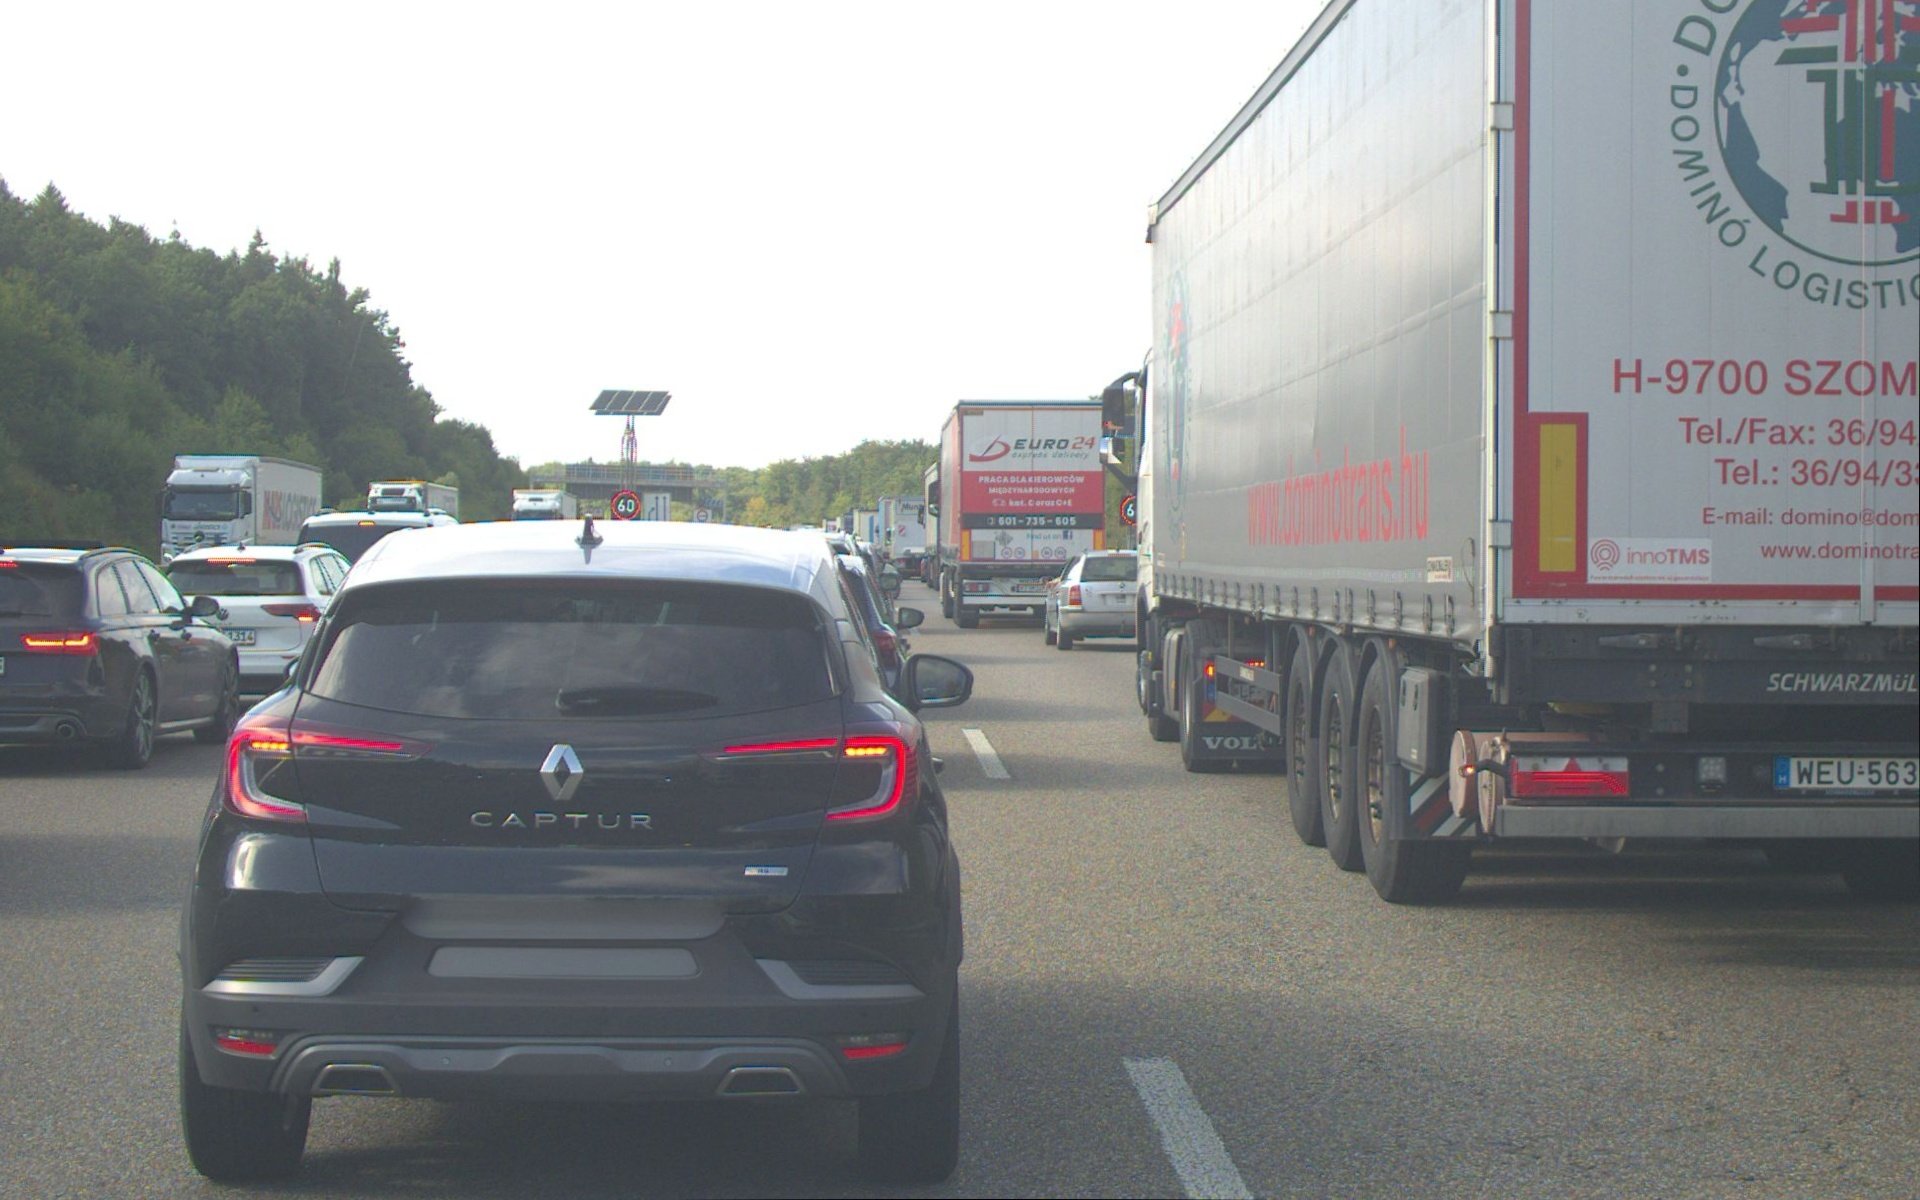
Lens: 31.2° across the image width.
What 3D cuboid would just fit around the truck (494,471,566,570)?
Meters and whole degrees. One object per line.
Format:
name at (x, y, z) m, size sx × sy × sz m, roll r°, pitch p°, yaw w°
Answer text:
truck at (-22.767, -4.176, 182.204) m, size 3.088 × 5.083 × 7.142 m, roll 1°, pitch 0°, yaw -2°

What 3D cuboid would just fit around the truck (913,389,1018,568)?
truck at (0.087, -3.828, 112.771) m, size 3.166 × 5.486 × 12.738 m, roll 1°, pitch 1°, yaw -1°

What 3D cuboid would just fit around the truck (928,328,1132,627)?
truck at (1.131, -2.141, 64.856) m, size 3.365 × 5.027 × 12.738 m, roll 1°, pitch 1°, yaw -1°

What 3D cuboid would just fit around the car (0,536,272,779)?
car at (-6.036, 0.305, 23.347) m, size 1.843 × 1.451 × 4.748 m, roll 1°, pitch 1°, yaw -1°

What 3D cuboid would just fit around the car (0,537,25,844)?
car at (-5.411, 0.469, 14.819) m, size 1.747 × 1.460 × 4.041 m, roll 0°, pitch 1°, yaw -1°

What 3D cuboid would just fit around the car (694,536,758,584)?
car at (-8.056, -1.405, 118.572) m, size 1.993 × 1.607 × 4.000 m, roll 1°, pitch 1°, yaw -1°

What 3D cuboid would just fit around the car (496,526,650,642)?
car at (-6.011, -0.255, 53.825) m, size 1.993 × 1.716 × 4.000 m, roll 1°, pitch 1°, yaw -1°

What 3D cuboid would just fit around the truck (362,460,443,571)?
truck at (-24.858, -3.729, 153.409) m, size 2.931 × 4.842 × 4.766 m, roll 1°, pitch 0°, yaw -2°

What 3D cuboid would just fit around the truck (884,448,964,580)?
truck at (-1.507, -3.684, 150.541) m, size 3.166 × 5.486 × 12.737 m, roll 1°, pitch 1°, yaw 1°

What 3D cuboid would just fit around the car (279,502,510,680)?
car at (-6.026, -0.112, 37.061) m, size 1.911 × 1.783 × 4.418 m, roll 1°, pitch 1°, yaw -2°

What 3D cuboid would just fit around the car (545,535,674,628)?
car at (-6.345, -0.343, 62.606) m, size 1.993 × 1.607 × 4.000 m, roll 1°, pitch 1°, yaw -1°

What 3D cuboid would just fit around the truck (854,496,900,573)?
truck at (-6.099, -4.769, 253.573) m, size 3.166 × 5.486 × 12.738 m, roll 1°, pitch 1°, yaw -1°

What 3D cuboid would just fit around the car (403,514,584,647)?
car at (-6.062, -0.263, 45.081) m, size 1.855 × 1.635 × 3.926 m, roll 1°, pitch 1°, yaw -1°

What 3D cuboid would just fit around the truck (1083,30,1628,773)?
truck at (2.601, -1.300, 24.658) m, size 2.997 × 4.651 × 5.940 m, roll 1°, pitch 1°, yaw -2°

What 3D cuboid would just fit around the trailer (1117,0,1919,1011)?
trailer at (2.844, -1.149, 17.507) m, size 3.002 × 4.645 × 13.291 m, roll 1°, pitch 1°, yaw -2°

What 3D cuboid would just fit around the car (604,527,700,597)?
car at (-7.344, -0.927, 82.328) m, size 1.993 × 1.607 × 4.000 m, roll 1°, pitch 1°, yaw -1°

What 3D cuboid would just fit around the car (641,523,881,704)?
car at (-1.732, 0.095, 31.209) m, size 1.993 × 1.509 × 4.000 m, roll 1°, pitch 1°, yaw -1°

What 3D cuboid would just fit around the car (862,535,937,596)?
car at (-1.663, -0.952, 94.170) m, size 1.993 × 1.607 × 4.000 m, roll 1°, pitch 1°, yaw -1°

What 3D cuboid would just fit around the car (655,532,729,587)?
car at (-8.099, -1.251, 104.141) m, size 1.993 × 1.607 × 4.000 m, roll 1°, pitch 1°, yaw -1°

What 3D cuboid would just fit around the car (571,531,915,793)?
car at (-1.306, 0.343, 22.149) m, size 1.993 × 1.509 × 4.000 m, roll 1°, pitch 1°, yaw -1°

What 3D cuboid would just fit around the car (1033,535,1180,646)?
car at (2.093, -0.158, 50.136) m, size 1.804 × 1.527 × 3.926 m, roll 1°, pitch 1°, yaw -2°

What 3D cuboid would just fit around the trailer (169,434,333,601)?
trailer at (-23.820, -2.683, 116.288) m, size 3.042 × 5.262 × 13.836 m, roll 1°, pitch 1°, yaw -2°

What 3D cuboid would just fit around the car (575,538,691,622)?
car at (-6.559, -0.409, 69.339) m, size 1.993 × 1.607 × 4.000 m, roll 1°, pitch 1°, yaw -1°

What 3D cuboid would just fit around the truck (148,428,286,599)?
truck at (-23.624, -2.715, 109.608) m, size 3.039 × 5.235 × 6.884 m, roll 1°, pitch 0°, yaw -2°

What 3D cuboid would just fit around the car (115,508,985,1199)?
car at (-0.854, 0.555, 9.265) m, size 1.804 × 1.547 × 4.000 m, roll 0°, pitch 1°, yaw 1°

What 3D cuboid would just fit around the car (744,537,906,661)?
car at (-1.709, -0.032, 44.695) m, size 1.993 × 1.509 × 4.000 m, roll 1°, pitch 1°, yaw -1°

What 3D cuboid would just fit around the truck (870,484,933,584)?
truck at (-3.101, -3.507, 184.754) m, size 3.166 × 5.142 × 12.738 m, roll 1°, pitch 1°, yaw -1°

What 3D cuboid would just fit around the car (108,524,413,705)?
car at (-6.012, 0.094, 30.013) m, size 1.804 × 1.456 × 4.309 m, roll 1°, pitch 1°, yaw 0°
